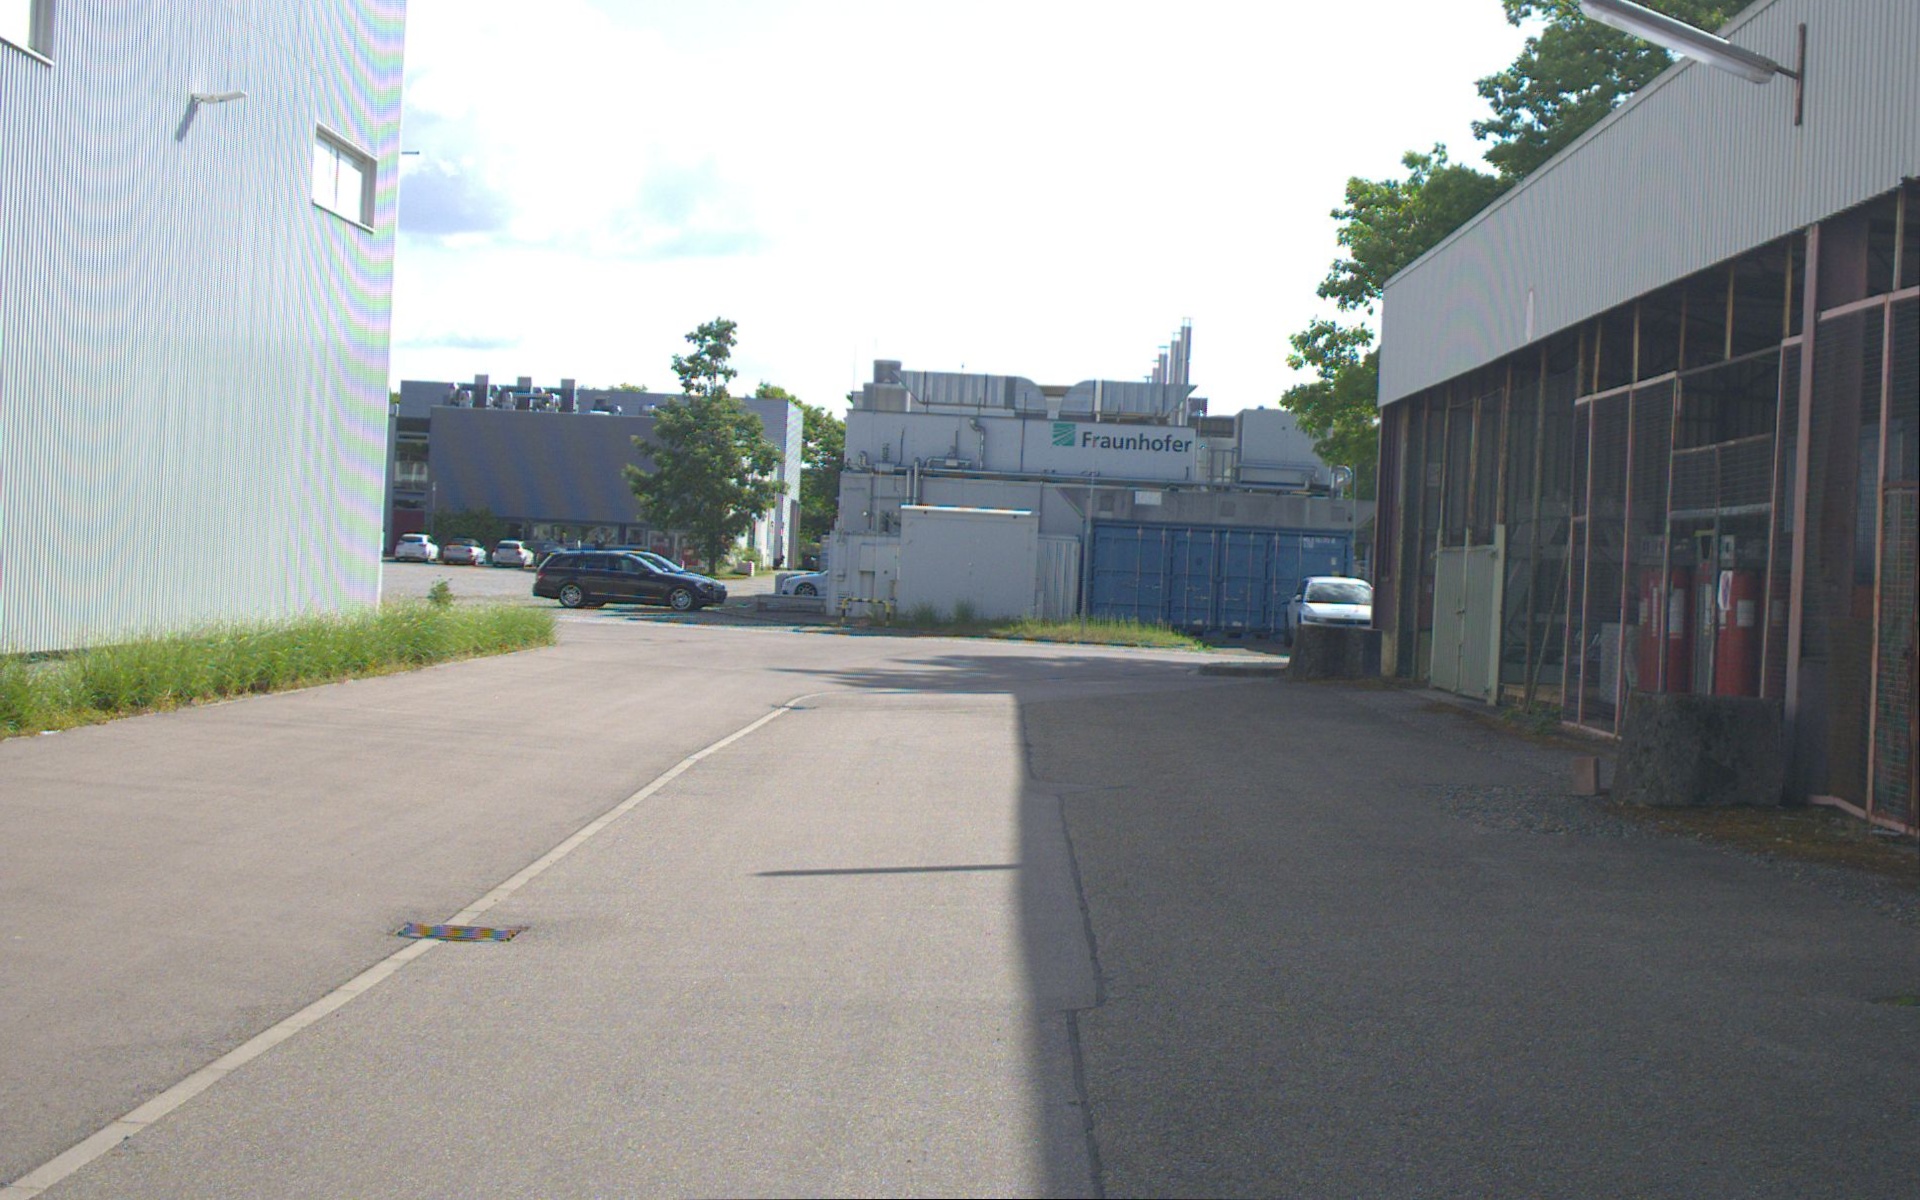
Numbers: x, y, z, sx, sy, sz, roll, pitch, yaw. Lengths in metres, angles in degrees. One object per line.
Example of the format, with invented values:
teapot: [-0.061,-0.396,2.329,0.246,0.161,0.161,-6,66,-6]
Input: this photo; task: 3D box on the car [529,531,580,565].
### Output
car: [-21.490,-2.729,182.507,2.193,1.730,4.000,1,0,0]

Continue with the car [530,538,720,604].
car: [-8.442,-0.739,86.871,4.526,1.503,1.909,2,1,3]

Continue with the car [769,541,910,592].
car: [-3.980,-1.125,114.397,4.526,1.503,1.909,2,1,2]

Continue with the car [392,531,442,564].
car: [-29.112,-2.807,184.351,1.993,1.730,4.000,1,0,0]

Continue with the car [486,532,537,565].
car: [-24.029,-2.751,184.260,2.193,1.730,4.000,1,0,0]

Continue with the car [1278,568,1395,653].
car: [8.045,0.207,73.849,1.993,1.580,4.173,2,2,0]

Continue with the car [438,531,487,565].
car: [-26.619,-2.762,183.958,1.993,1.730,4.000,1,0,0]
